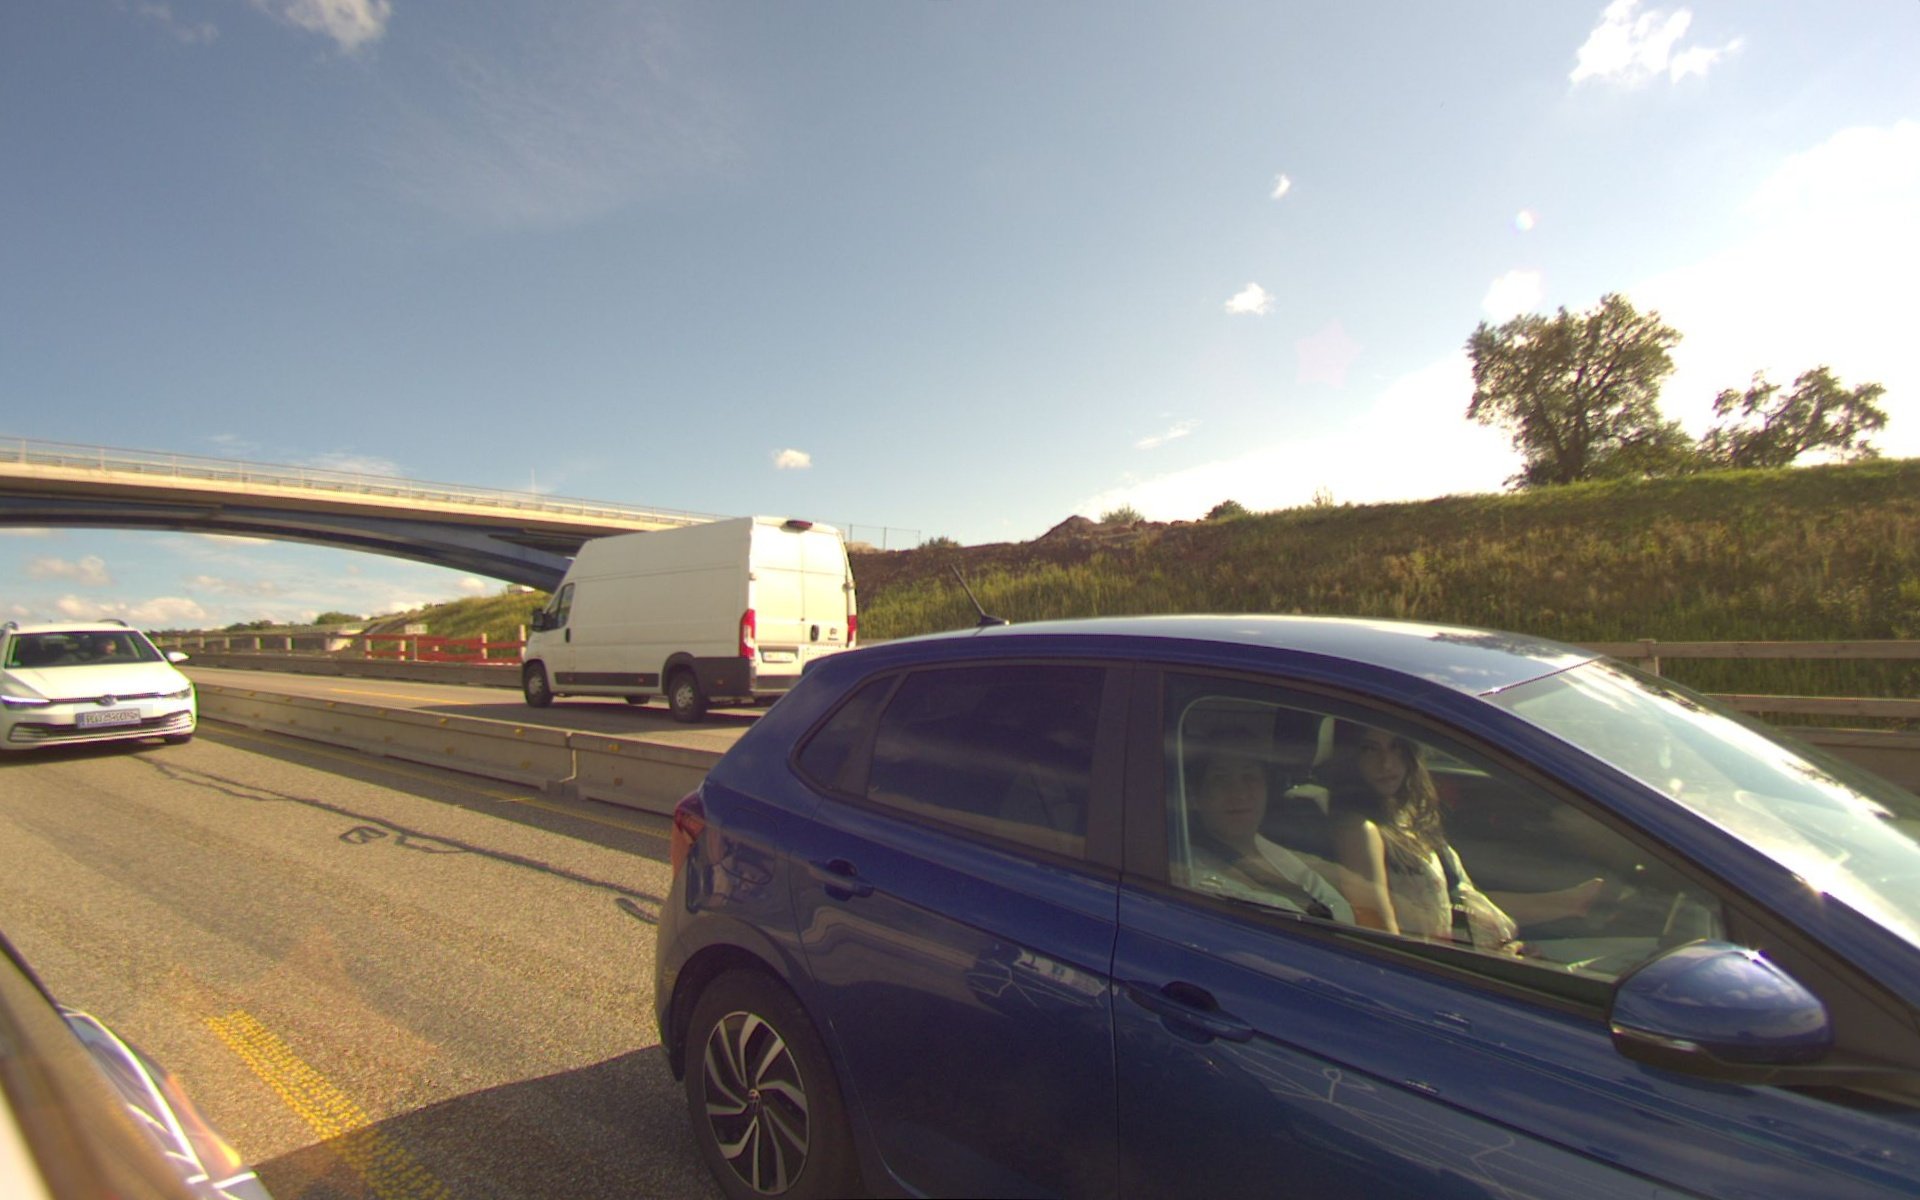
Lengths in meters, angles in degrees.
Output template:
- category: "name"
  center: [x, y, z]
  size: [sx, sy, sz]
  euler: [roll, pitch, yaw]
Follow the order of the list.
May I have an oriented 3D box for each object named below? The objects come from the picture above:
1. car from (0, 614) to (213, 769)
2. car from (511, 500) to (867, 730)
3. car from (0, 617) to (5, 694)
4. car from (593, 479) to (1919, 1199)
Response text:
- category: "car"
  center: [-10.642, 0.966, 12.192]
  size: [4.373, 1.507, 1.801]
  euler: [-1, 0, 42]
- category: "car"
  center: [-4.314, 0.277, 15.362]
  size: [6.135, 2.857, 2.088]
  euler: [-1, -4, 41]
- category: "car"
  center: [-23.429, 1.274, 23.261]
  size: [4.259, 1.690, 1.830]
  euler: [-1, -1, 42]
- category: "car"
  center: [1.063, 0.643, 2.019]
  size: [3.999, 1.519, 1.696]
  euler: [-1, 0, 42]
